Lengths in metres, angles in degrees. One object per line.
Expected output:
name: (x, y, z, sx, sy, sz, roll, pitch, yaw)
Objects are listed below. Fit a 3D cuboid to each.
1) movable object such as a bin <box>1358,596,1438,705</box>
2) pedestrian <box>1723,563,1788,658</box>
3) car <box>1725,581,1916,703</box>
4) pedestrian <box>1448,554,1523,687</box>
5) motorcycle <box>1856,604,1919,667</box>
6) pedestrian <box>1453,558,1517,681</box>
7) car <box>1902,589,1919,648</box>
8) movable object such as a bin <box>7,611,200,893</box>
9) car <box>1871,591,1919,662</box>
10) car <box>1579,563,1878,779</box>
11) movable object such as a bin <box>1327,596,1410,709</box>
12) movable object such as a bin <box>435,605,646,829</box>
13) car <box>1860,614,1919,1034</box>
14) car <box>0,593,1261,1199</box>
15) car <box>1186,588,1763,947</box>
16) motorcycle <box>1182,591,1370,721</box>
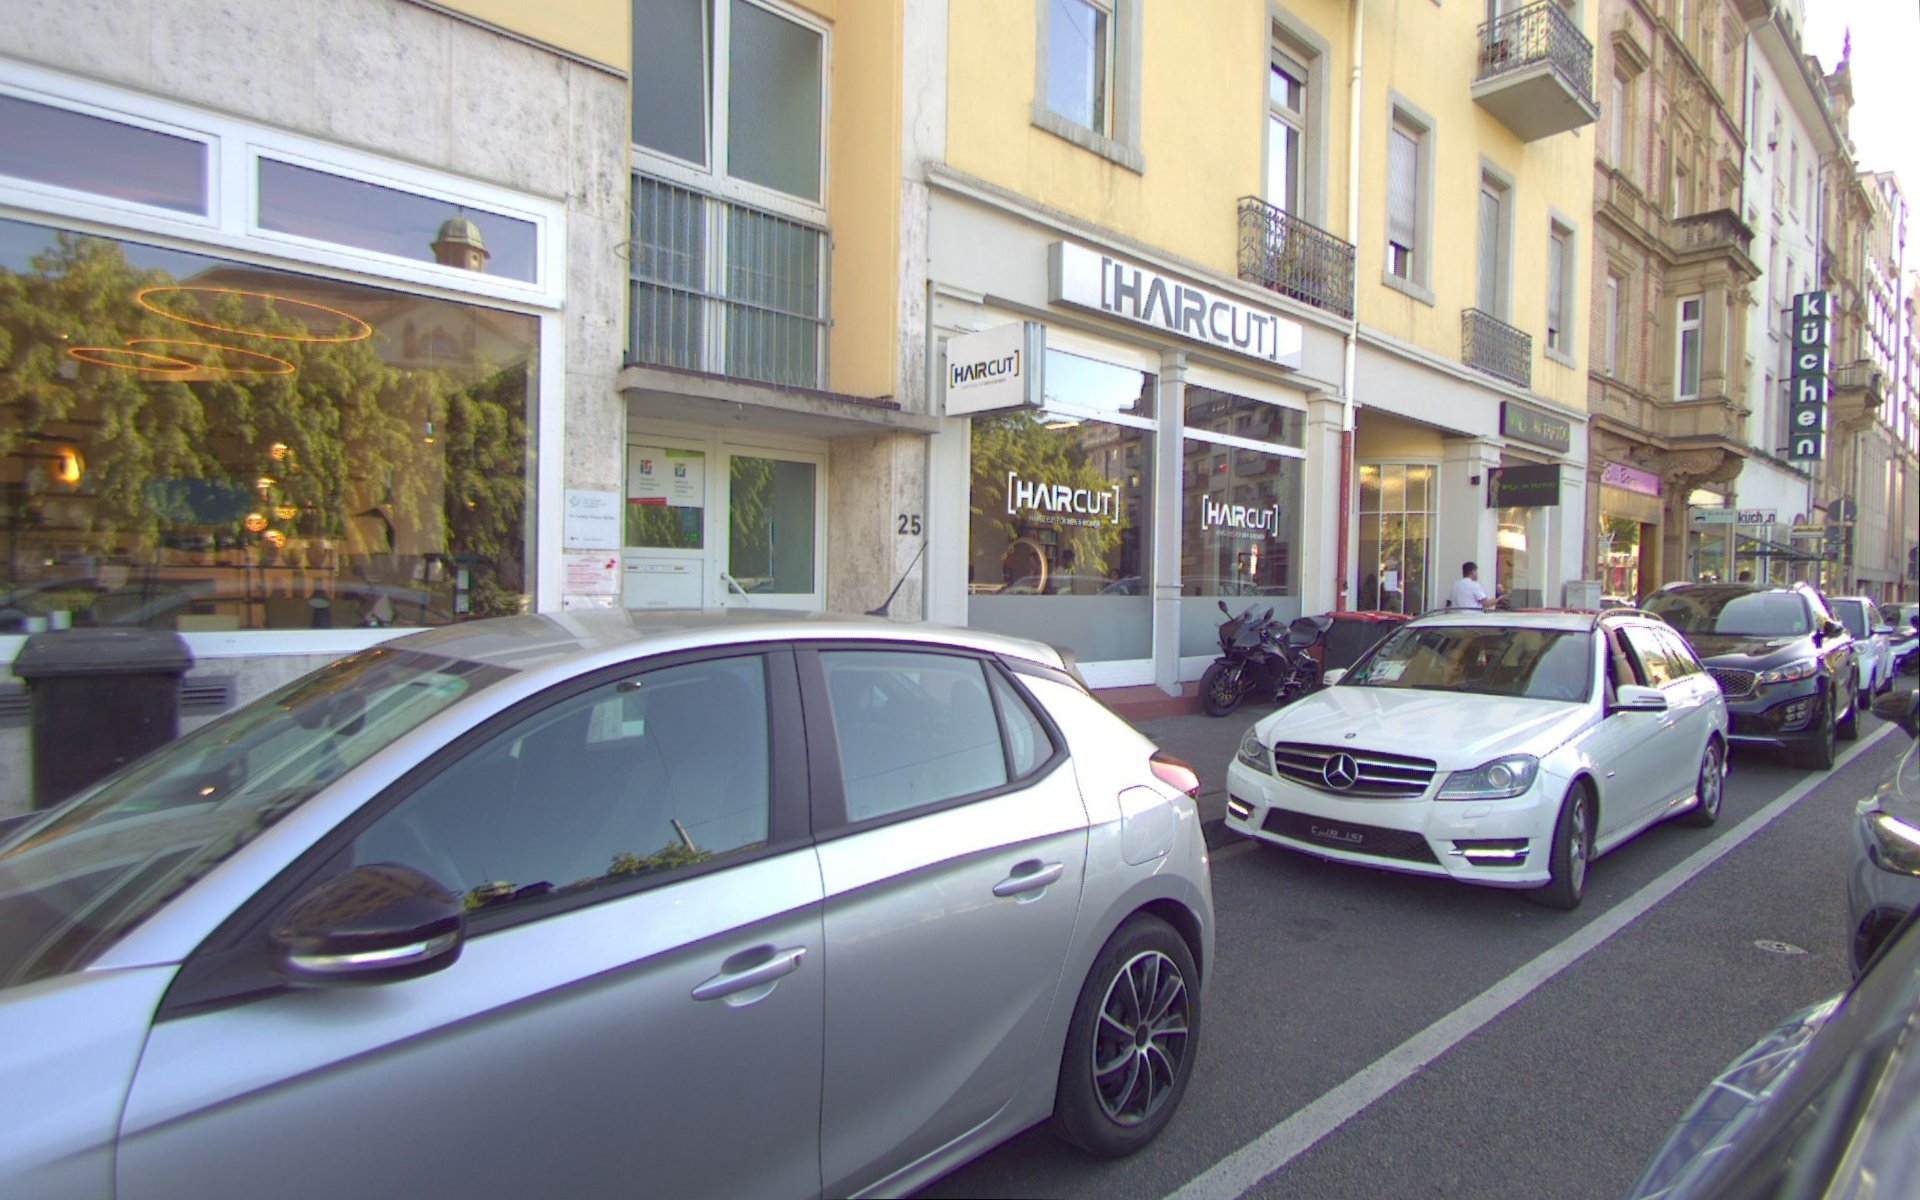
movable object such as a bin: (5.150, 0.568, 11.896, 0.633, 1.222, 0.647, 0, 0, -40)
pedestrian: (14.230, 0.171, 18.099, 0.750, 1.637, 0.794, 0, 1, -43)
car: (12.679, 0.533, 14.875, 2.965, 1.587, 1.695, 0, 1, -40)
pedestrian: (6.744, 0.248, 12.991, 0.689, 1.637, 0.641, 0, 0, -42)
motorcycle: (19.290, 0.713, 20.526, 1.514, 1.248, 0.771, 1, 0, 1)
pedestrian: (7.206, 0.257, 13.901, 0.631, 1.637, 0.572, 0, 0, -40)
car: (26.403, 0.487, 26.870, 3.931, 1.504, 1.713, 0, 1, -42)
movable object such as a bin: (-3.669, 0.585, 4.360, 0.591, 1.041, 0.812, 0, 1, -40)
car: (22.208, 0.571, 23.077, 3.931, 1.504, 1.713, 0, 1, -42)
car: (8.020, 0.538, 10.367, 1.853, 1.719, 4.623, 1, 1, 45)
movable object such as a bin: (4.640, 0.575, 11.507, 0.633, 1.222, 0.647, 0, 0, -40)
movable object such as a bin: (-2.290, 0.573, 5.516, 0.878, 1.066, 0.752, 0, 1, -40)
car: (5.321, 0.775, 4.277, 4.183, 1.396, 1.846, 0, 1, -42)
car: (-1.027, 0.703, 2.325, 3.642, 1.415, 1.652, 0, 1, -42)
car: (3.497, 0.681, 6.401, 4.519, 1.480, 1.757, 0, 1, -42)
motorcycle: (3.325, 0.525, 10.534, 2.208, 1.179, 0.773, 0, 4, -41)
